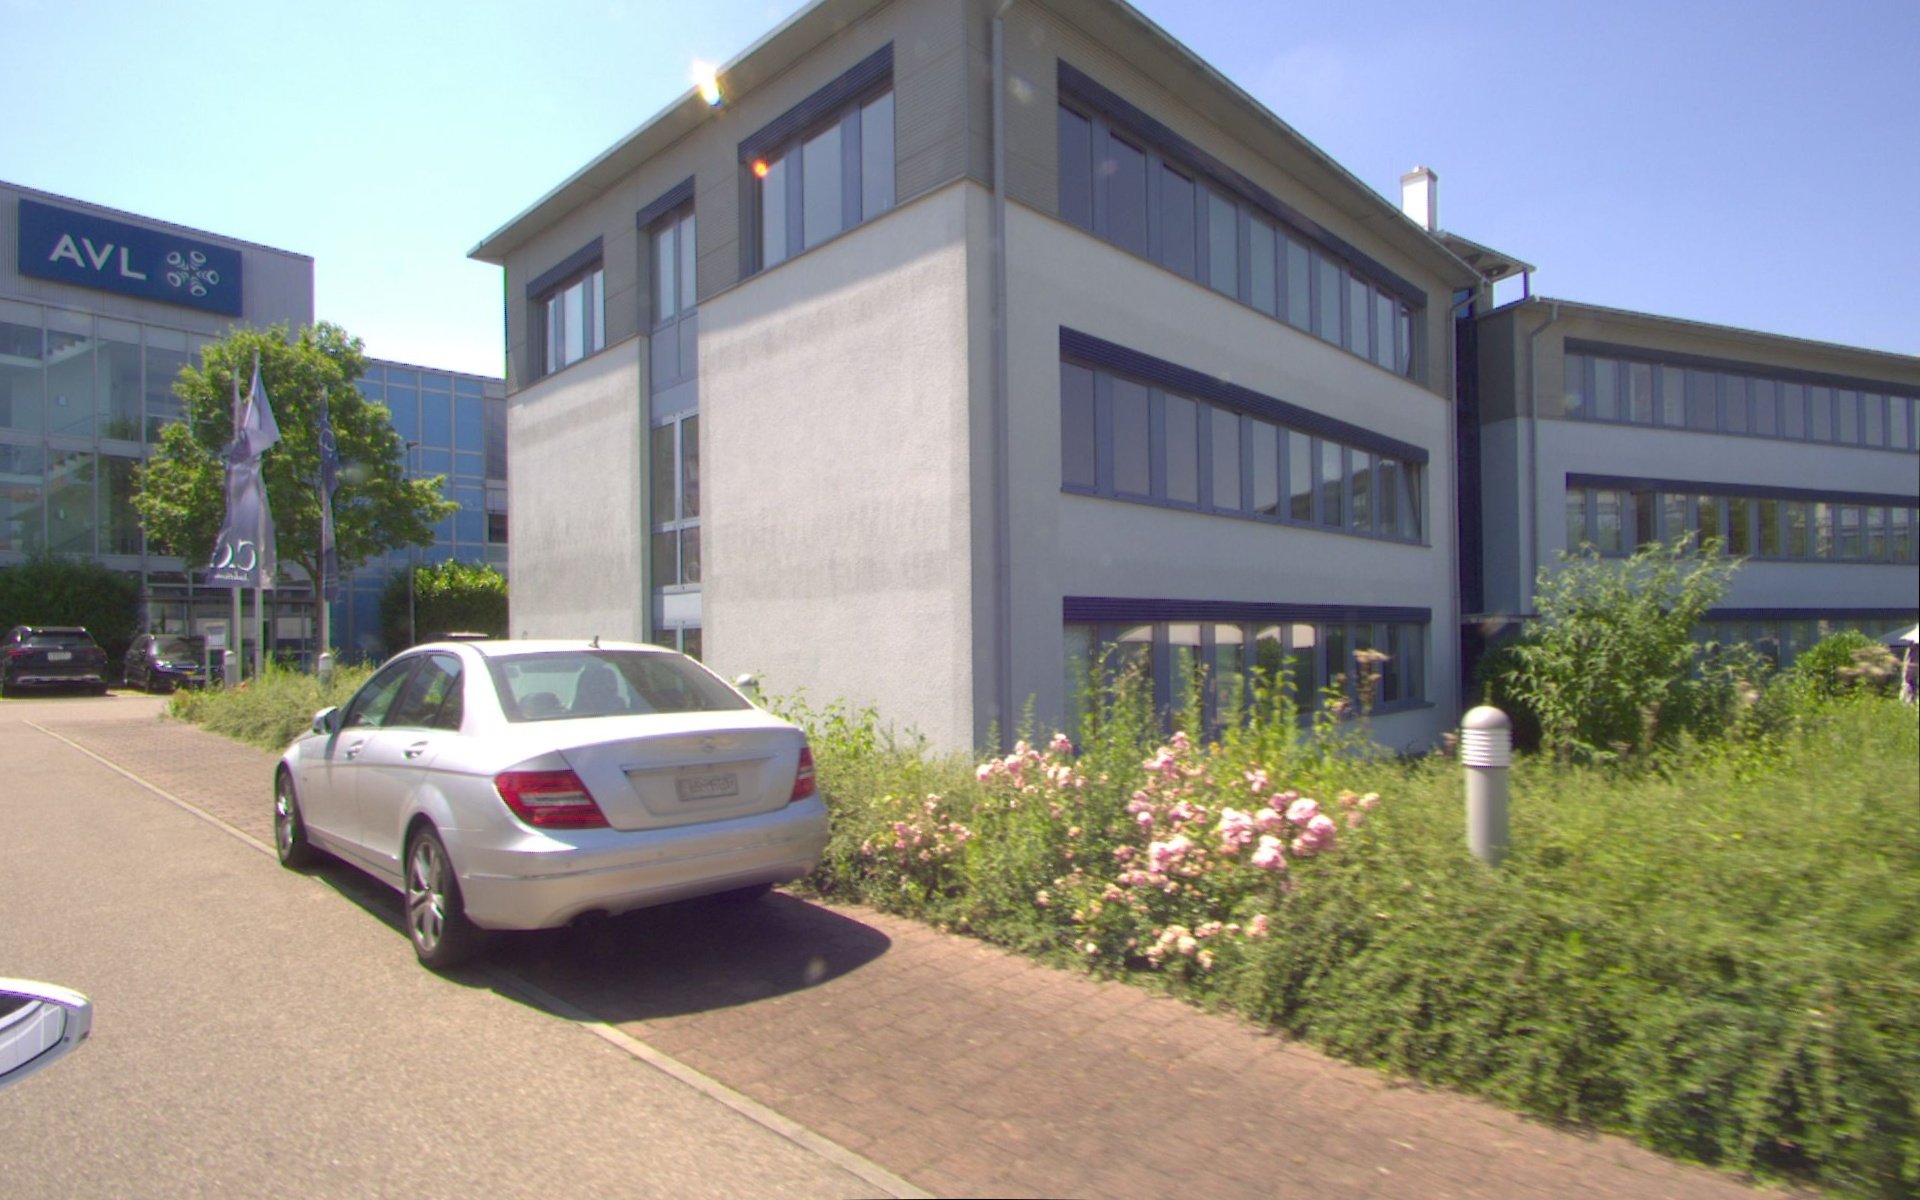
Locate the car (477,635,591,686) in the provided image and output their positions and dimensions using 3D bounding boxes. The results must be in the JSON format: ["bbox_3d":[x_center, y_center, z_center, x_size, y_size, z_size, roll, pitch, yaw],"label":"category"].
[{"bbox_3d":[-14.195,1.984,33.252,4.289,1.510,1.729,-1,-3,41],"label":"car"}]

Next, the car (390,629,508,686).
[{"bbox_3d":[-16.122,1.750,31.489,4.289,1.640,1.811,-1,-2,41],"label":"car"}]

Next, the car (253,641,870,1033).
[{"bbox_3d":[-2.601,0.950,5.828,1.788,1.415,4.376,2,-3,-45],"label":"car"}]

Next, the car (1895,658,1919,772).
[{"bbox_3d":[14.991,1.537,12.656,4.561,1.512,1.842,-1,-3,42],"label":"car"}]

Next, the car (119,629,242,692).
[{"bbox_3d":[-20.578,1.539,26.389,4.209,1.501,1.762,-1,-2,41],"label":"car"}]

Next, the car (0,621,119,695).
[{"bbox_3d":[-22.154,1.361,24.384,3.940,1.631,1.919,-1,-3,41],"label":"car"}]
